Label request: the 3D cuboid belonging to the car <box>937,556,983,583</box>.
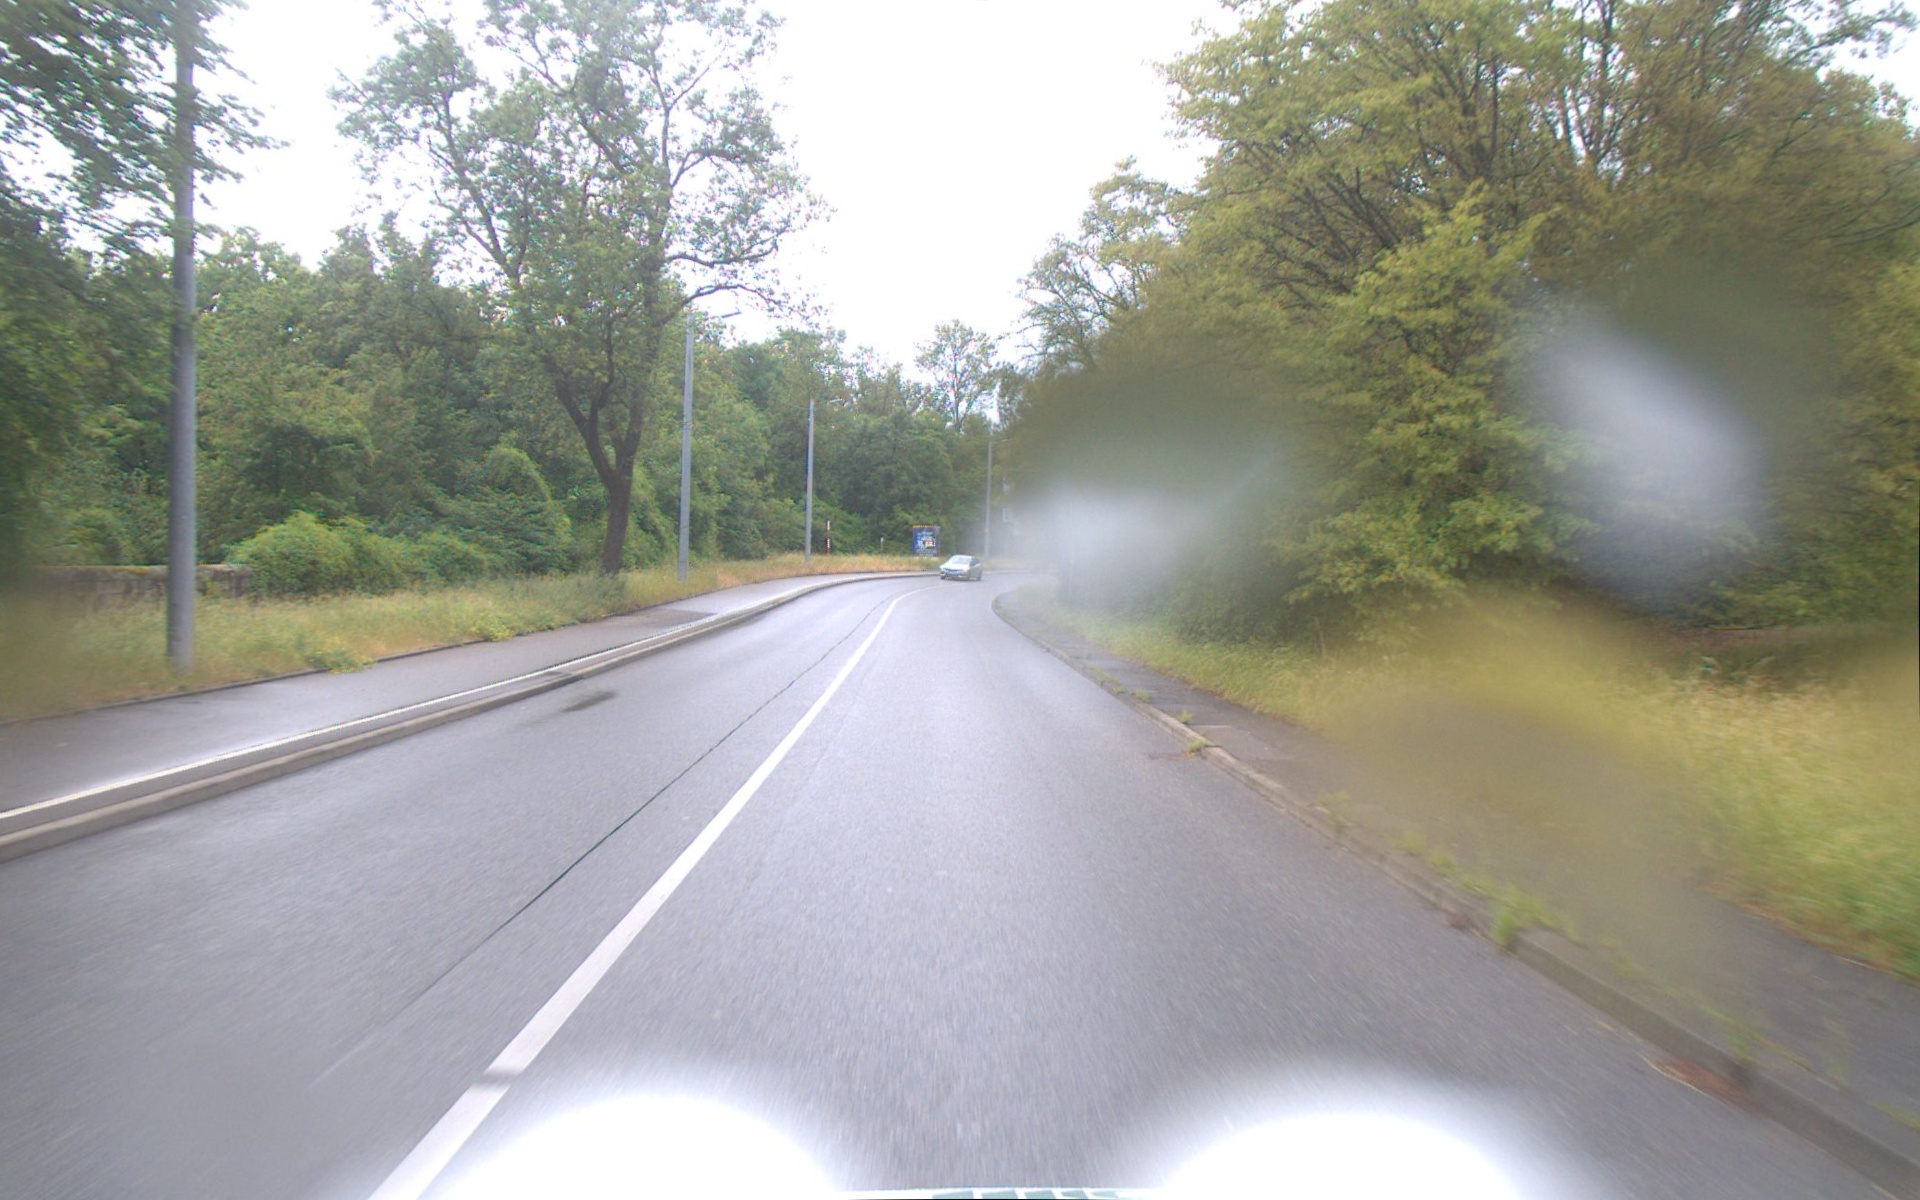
[{"bbox_3d":[0.031,-1.871,100.942,1.743,1.455,4.479,5,2,13],"label":"car"}]
